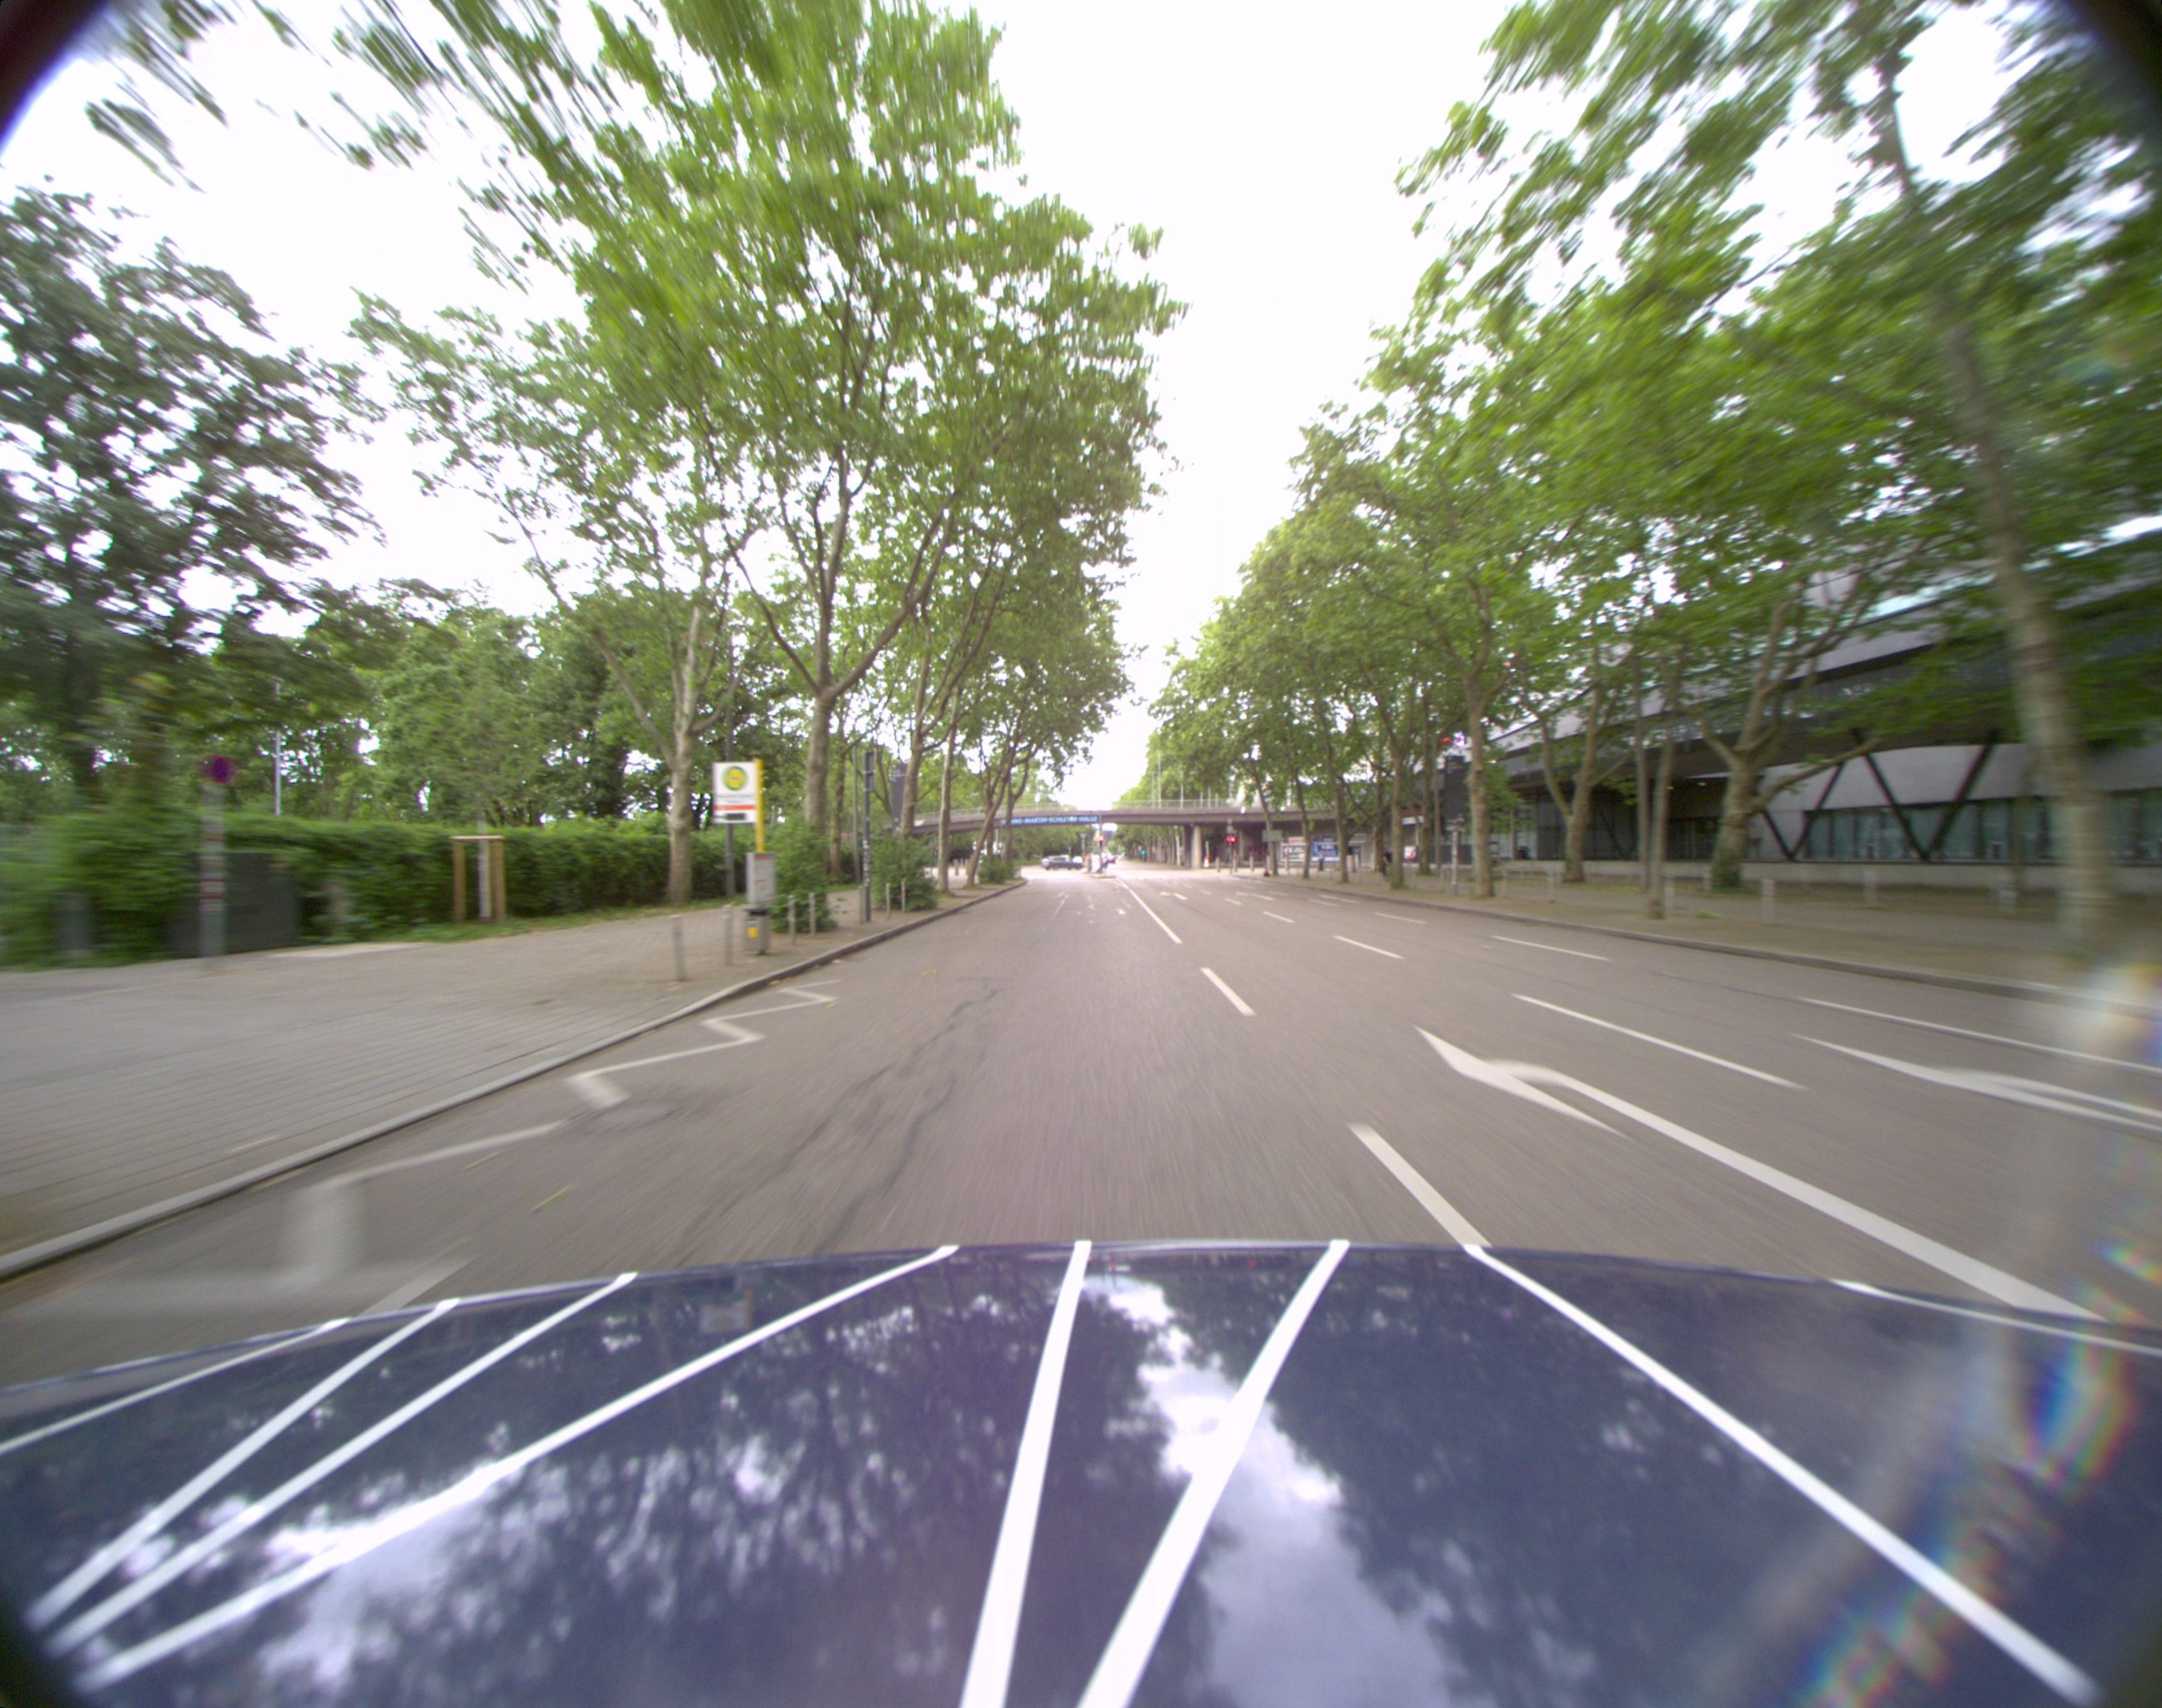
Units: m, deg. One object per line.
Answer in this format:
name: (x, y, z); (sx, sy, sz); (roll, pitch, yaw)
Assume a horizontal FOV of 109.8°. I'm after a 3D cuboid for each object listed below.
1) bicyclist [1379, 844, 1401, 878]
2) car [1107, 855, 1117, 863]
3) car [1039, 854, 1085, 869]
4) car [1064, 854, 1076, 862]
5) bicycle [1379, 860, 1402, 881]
bicyclist: (15.874, 0.340, 39.020); (0.766, 1.688, 0.854); (0, 2, -1)
car: (5.916, 0.942, 146.087); (1.833, 1.443, 4.076); (0, 1, 2)
car: (-2.029, 0.806, 81.590); (4.694, 1.437, 1.883); (-2, 0, -32)
car: (-1.879, 0.657, 134.751); (1.761, 1.356, 3.717); (1, 2, 6)
bicycle: (15.866, 0.847, 39.036); (0.516, 1.007, 1.537); (0, 2, -1)
